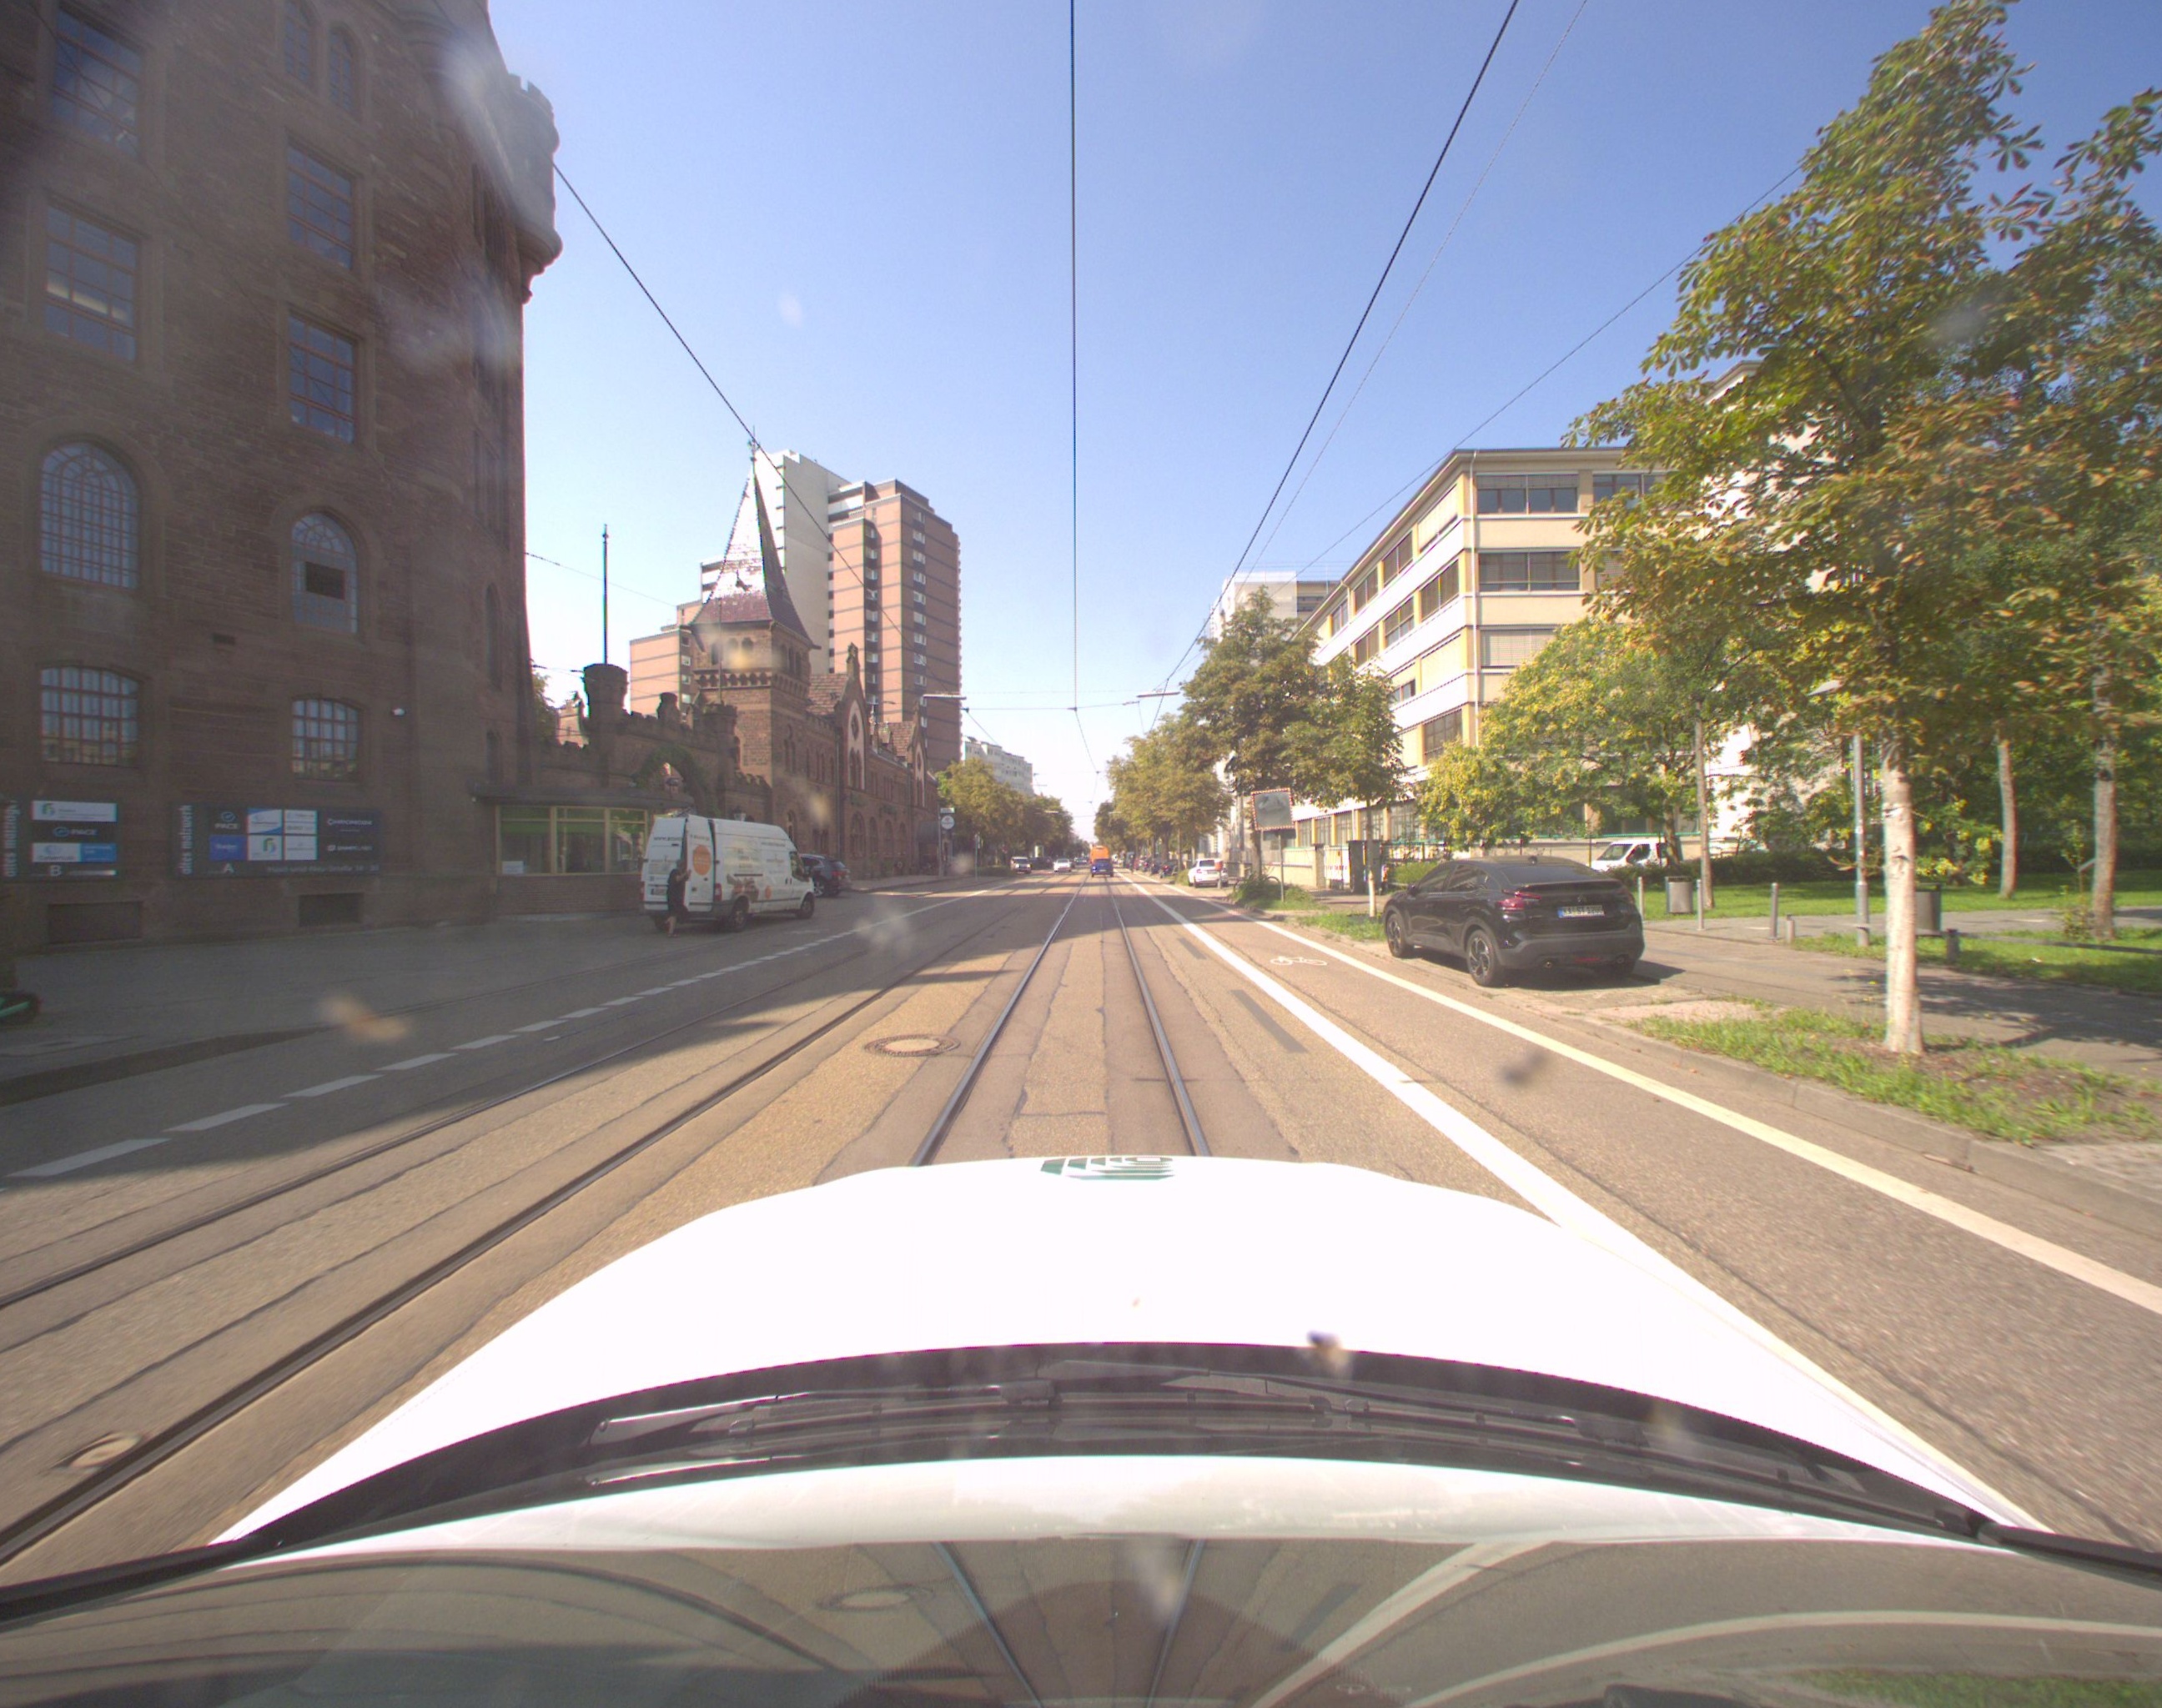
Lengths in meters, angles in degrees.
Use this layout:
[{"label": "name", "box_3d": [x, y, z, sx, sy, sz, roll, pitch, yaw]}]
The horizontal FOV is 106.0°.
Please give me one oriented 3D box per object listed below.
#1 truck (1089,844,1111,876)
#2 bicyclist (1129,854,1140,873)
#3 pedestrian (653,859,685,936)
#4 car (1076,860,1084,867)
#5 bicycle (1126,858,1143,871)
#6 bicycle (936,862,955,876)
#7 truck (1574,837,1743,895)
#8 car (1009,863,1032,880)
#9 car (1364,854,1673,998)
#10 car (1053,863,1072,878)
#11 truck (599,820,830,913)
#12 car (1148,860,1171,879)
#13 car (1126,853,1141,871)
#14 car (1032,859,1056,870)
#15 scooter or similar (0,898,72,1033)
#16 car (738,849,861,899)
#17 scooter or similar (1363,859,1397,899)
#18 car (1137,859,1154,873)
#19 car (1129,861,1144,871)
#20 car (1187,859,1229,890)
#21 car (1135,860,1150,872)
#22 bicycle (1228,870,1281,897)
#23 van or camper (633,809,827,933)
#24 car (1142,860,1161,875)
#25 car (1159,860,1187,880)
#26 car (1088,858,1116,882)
[{"label": "truck", "box_3d": [1.987, 0.606, 84.886, 2.128, 3.124, 6.086, -1, -1, 1]}, {"label": "bicyclist", "box_3d": [5.159, 0.885, 78.382, 1.028, 1.812, 1.016, 0, -1, 1]}, {"label": "pedestrian", "box_3d": [-8.782, 0.907, 17.375, 0.553, 1.599, 0.495, 0, -1, -22]}, {"label": "car", "box_3d": [-0.234, 2.310, 195.310, 1.774, 1.684, 4.347, 0, -1, 0]}, {"label": "bicycle", "box_3d": [5.123, 1.004, 78.389, 1.396, 1.134, 4.001, -1, 0, 1]}, {"label": "bicycle", "box_3d": [-11.425, 1.250, 68.549, 1.447, 1.093, 0.399, 3, -1, -3]}, {"label": "truck", "box_3d": [24.401, 0.502, 34.590, 5.485, 2.326, 2.300, 0, -1, 2]}, {"label": "car", "box_3d": [-6.655, 1.874, 89.076, 1.750, 1.796, 3.979, 0, -1, -16]}, {"label": "car", "box_3d": [5.602, 0.809, 11.233, 1.750, 1.515, 4.608, -2, -1, 0]}, {"label": "car", "box_3d": [-2.084, 1.867, 92.500, 1.840, 1.492, 4.869, -2, 0, 2]}, {"label": "truck", "box_3d": [-11.421, 0.346, 25.587, 6.289, 2.538, 2.134, 2, 1, 6]}, {"label": "car", "box_3d": [6.898, 1.368, 72.044, 1.736, 1.556, 4.218, -1, -1, 2]}, {"label": "car", "box_3d": [8.113, 1.177, 126.354, 1.987, 2.756, 5.760, 0, 0, 0]}, {"label": "car", "box_3d": [-6.526, 1.829, 145.151, 4.022, 2.014, 1.834, 0, -1, -42]}, {"label": "scooter or similar", "box_3d": [-9.844, 1.005, 7.148, 0.336, 1.178, 1.185, -1, -1, 26]}, {"label": "car", "box_3d": [-11.175, 0.771, 32.559, 4.120, 1.743, 2.001, 2, 0, 2]}, {"label": "scooter or similar", "box_3d": [9.896, 0.810, 26.992, 0.553, 1.259, 1.819, 0, 0, 4]}, {"label": "car", "box_3d": [7.500, 1.396, 95.236, 1.734, 1.668, 4.361, 0, 0, 0]}, {"label": "car", "box_3d": [7.868, 1.706, 115.755, 1.901, 1.431, 4.292, 0, 0, 0]}, {"label": "car", "box_3d": [6.512, 1.020, 42.111, 1.653, 1.481, 4.218, -1, -1, 2]}, {"label": "car", "box_3d": [7.940, 1.563, 105.613, 1.734, 1.462, 3.684, 0, 0, 0]}, {"label": "bicycle", "box_3d": [6.247, 1.053, 29.351, 1.805, 0.958, 0.558, 0, -1, 0]}, {"label": "van or camper", "box_3d": [-8.566, 0.391, 20.703, 2.104, 2.675, 5.959, 0, 0, 3]}, {"label": "car", "box_3d": [7.339, 1.374, 85.141, 1.628, 1.585, 4.188, 0, 0, 0]}, {"label": "car", "box_3d": [6.800, 1.174, 60.493, 1.653, 1.408, 4.218, -1, -1, 2]}, {"label": "car", "box_3d": [1.734, 1.267, 65.782, 2.128, 1.858, 5.569, -1, 0, 1]}]
